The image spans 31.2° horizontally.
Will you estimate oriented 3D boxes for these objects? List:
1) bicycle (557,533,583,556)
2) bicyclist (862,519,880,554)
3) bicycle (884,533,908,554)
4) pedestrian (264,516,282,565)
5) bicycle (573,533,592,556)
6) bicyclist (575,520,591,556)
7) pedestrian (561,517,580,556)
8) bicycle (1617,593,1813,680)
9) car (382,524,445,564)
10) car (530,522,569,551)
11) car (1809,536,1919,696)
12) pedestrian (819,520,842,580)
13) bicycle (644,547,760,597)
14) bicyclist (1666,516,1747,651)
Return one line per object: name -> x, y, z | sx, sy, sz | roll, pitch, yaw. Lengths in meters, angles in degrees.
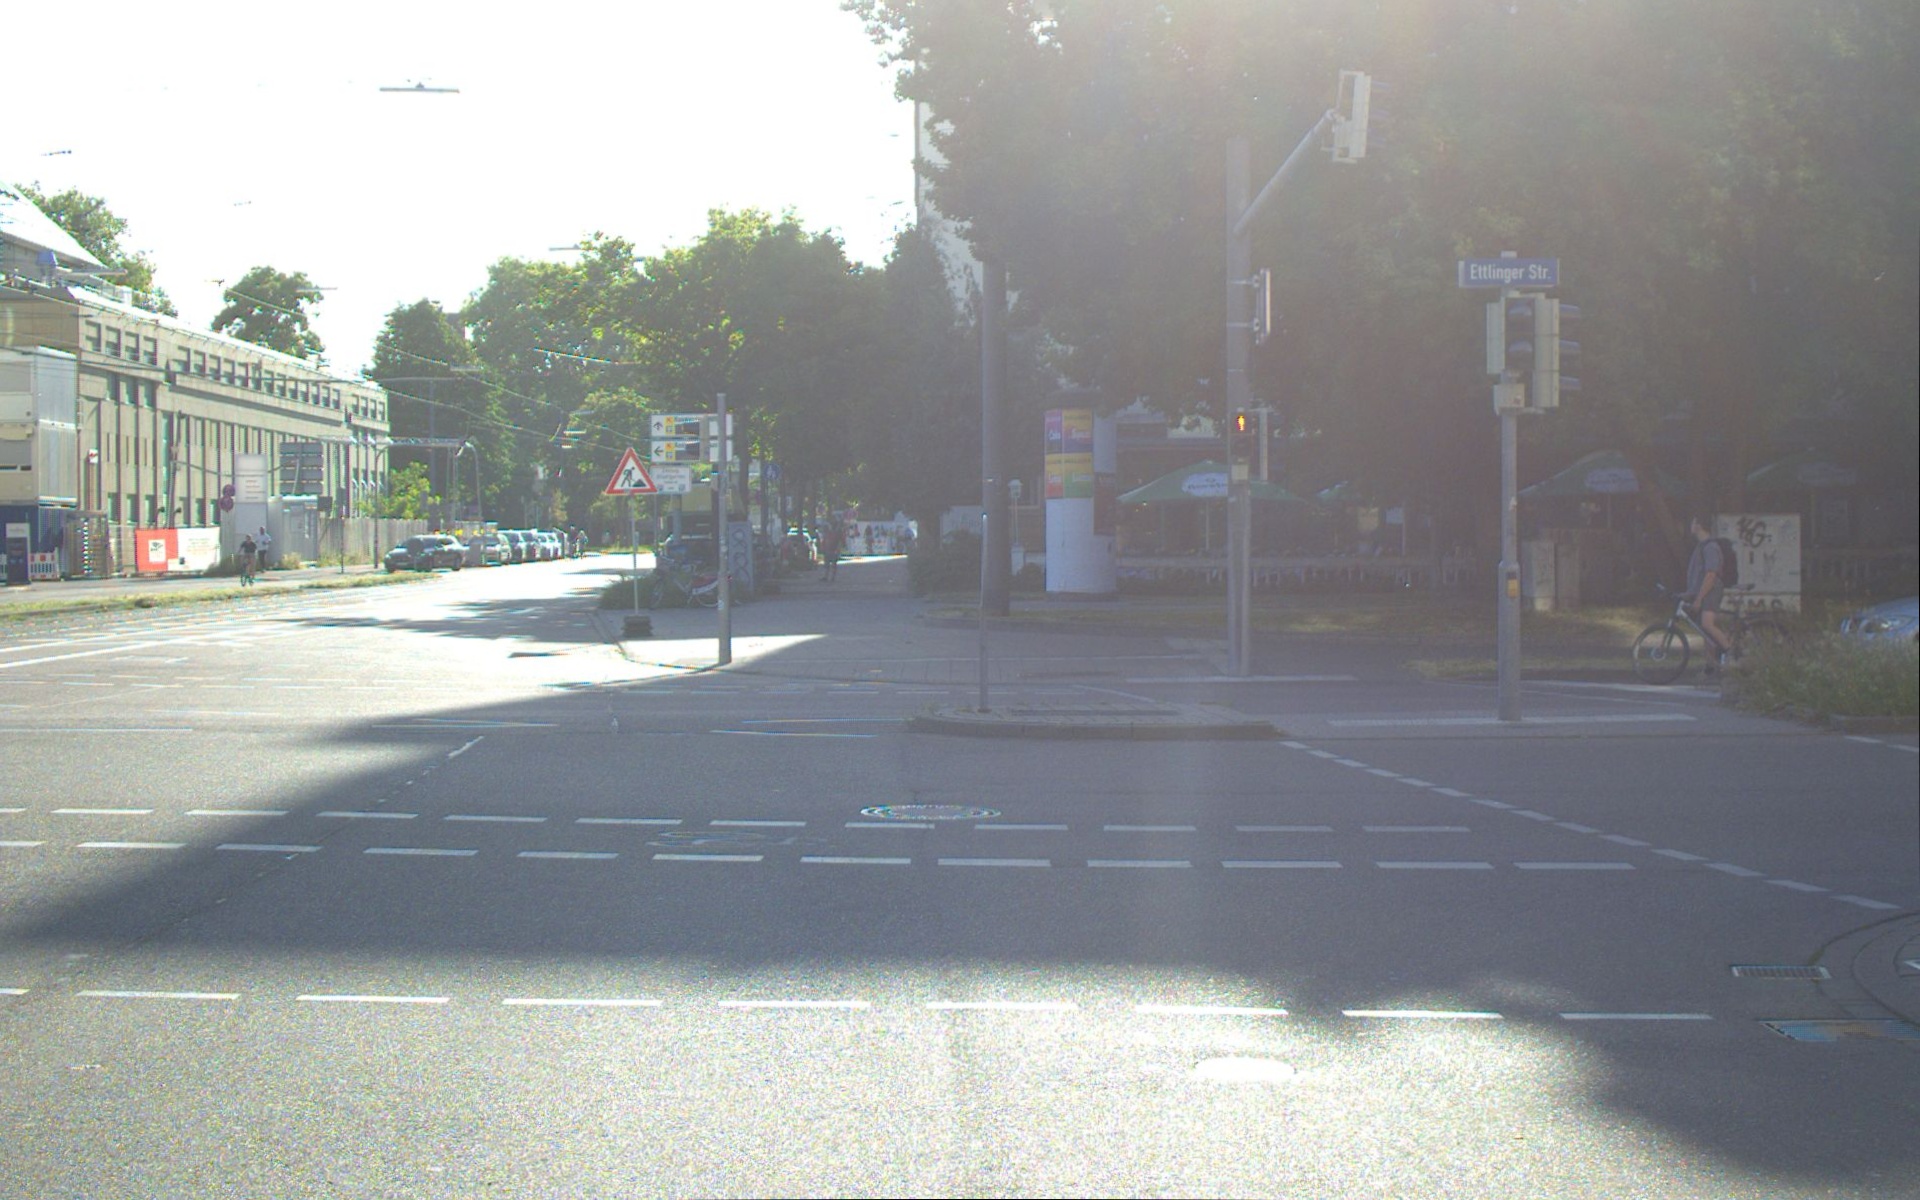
bicycle -> -20.425, -2.893, 180.107 | 0.751, 1.201, 3.107 | 1, 1, 5
bicyclist -> -5.065, -3.641, 196.530 | 0.890, 2.007, 0.749 | 1, 0, -12
bicycle -> -3.675, -3.228, 196.820 | 0.890, 1.215, 2.794 | 1, 1, -12
pedestrian -> -26.423, -2.298, 132.273 | 0.588, 1.883, 0.478 | 1, 0, -1
bicycle -> -20.258, -2.981, 184.685 | 0.750, 1.201, 3.108 | 1, 1, -2
bicyclist -> -20.244, -3.340, 184.562 | 0.750, 1.913, 1.215 | 1, 0, -2
pedestrian -> -20.400, -3.322, 180.169 | 0.751, 2.056, 1.050 | 1, 0, 5
bicycle -> 7.975, 0.385, 36.374 | 1.944, 0.886, 0.718 | 1, 0, 6
car -> -22.143, -2.286, 139.403 | 1.993, 1.593, 4.000 | -1, 1, -1
car -> -23.238, -3.598, 194.688 | 1.993, 1.638, 4.001 | -1, 1, -4
car -> 10.839, 0.172, 33.567 | 4.576, 1.511, 2.000 | 1, 0, 0
pedestrian -> -3.673, -1.414, 97.679 | 0.576, 1.683, 0.585 | -1, 1, -8
bicycle -> -5.047, -0.550, 67.220 | 2.244, 0.937, 0.654 | -1, 1, -5
bicyclist -> 7.893, -0.178, 36.373 | 0.747, 1.401, 0.702 | 1, 0, 6
